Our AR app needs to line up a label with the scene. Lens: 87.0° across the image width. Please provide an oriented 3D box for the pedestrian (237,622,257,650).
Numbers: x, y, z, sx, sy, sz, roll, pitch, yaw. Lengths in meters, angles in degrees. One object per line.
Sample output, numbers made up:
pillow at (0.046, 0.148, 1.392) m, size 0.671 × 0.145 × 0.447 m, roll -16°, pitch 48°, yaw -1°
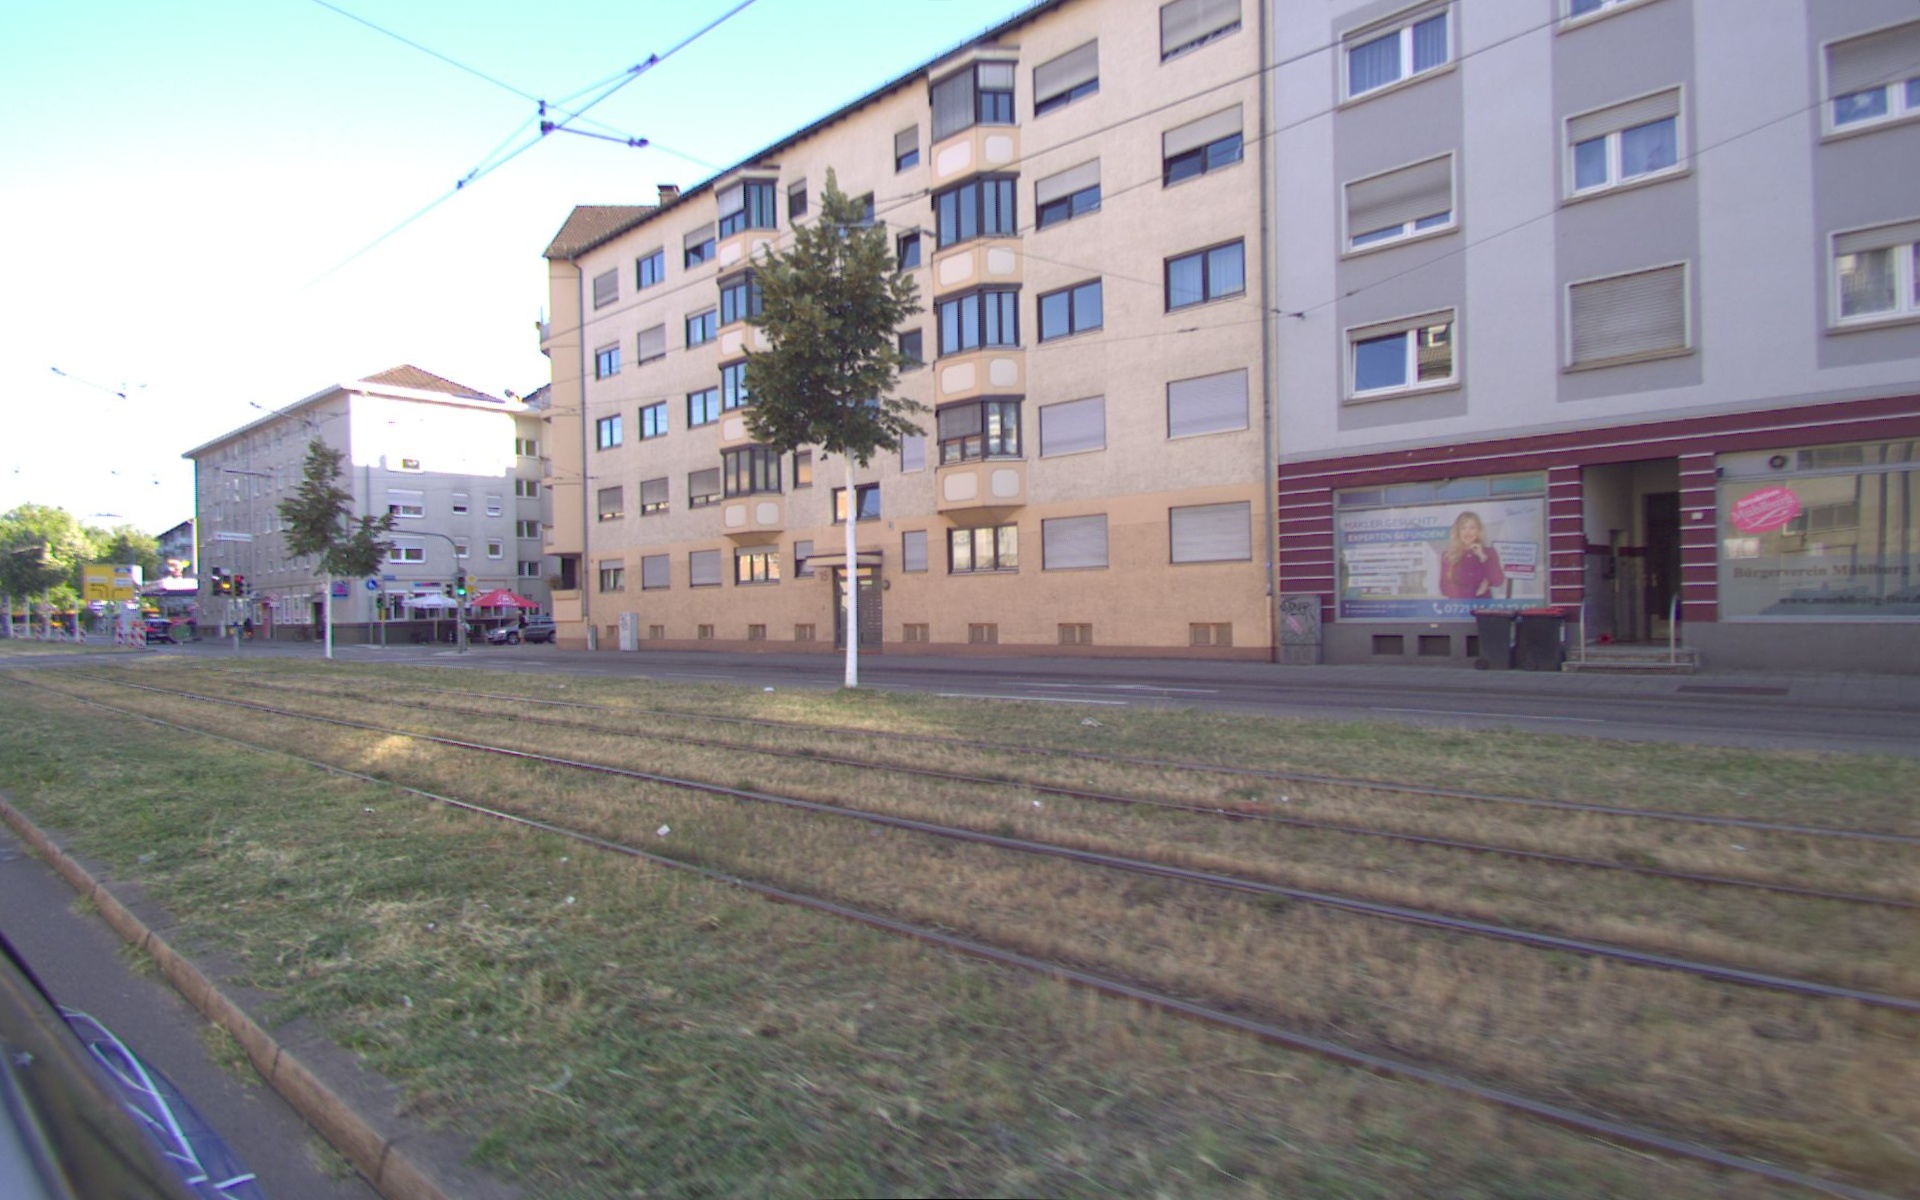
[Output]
pedestrian at (-45.696, 2.270, 64.864) m, size 1.225 × 1.754 × 0.733 m, roll -1°, pitch 0°, yaw 41°

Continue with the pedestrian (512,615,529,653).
pedestrian at (-21.299, 1.626, 49.019) m, size 0.625 × 1.783 × 0.827 m, roll -2°, pitch 0°, yaw -28°

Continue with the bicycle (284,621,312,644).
bicycle at (-42.560, 2.077, 65.052) m, size 3.234 × 1.388 × 0.572 m, roll -1°, pitch -1°, yaw 41°

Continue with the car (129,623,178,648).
car at (-55.809, 2.479, 70.023) m, size 4.467 × 1.602 × 1.897 m, roll -2°, pitch 0°, yaw 41°

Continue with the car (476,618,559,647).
car at (-25.766, 1.863, 58.967) m, size 1.997 × 1.519 × 3.950 m, roll -1°, pitch 0°, yaw 37°

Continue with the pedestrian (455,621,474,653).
pedestrian at (-24.110, 1.798, 49.282) m, size 0.582 × 1.501 × 0.616 m, roll -1°, pitch 1°, yaw 41°
